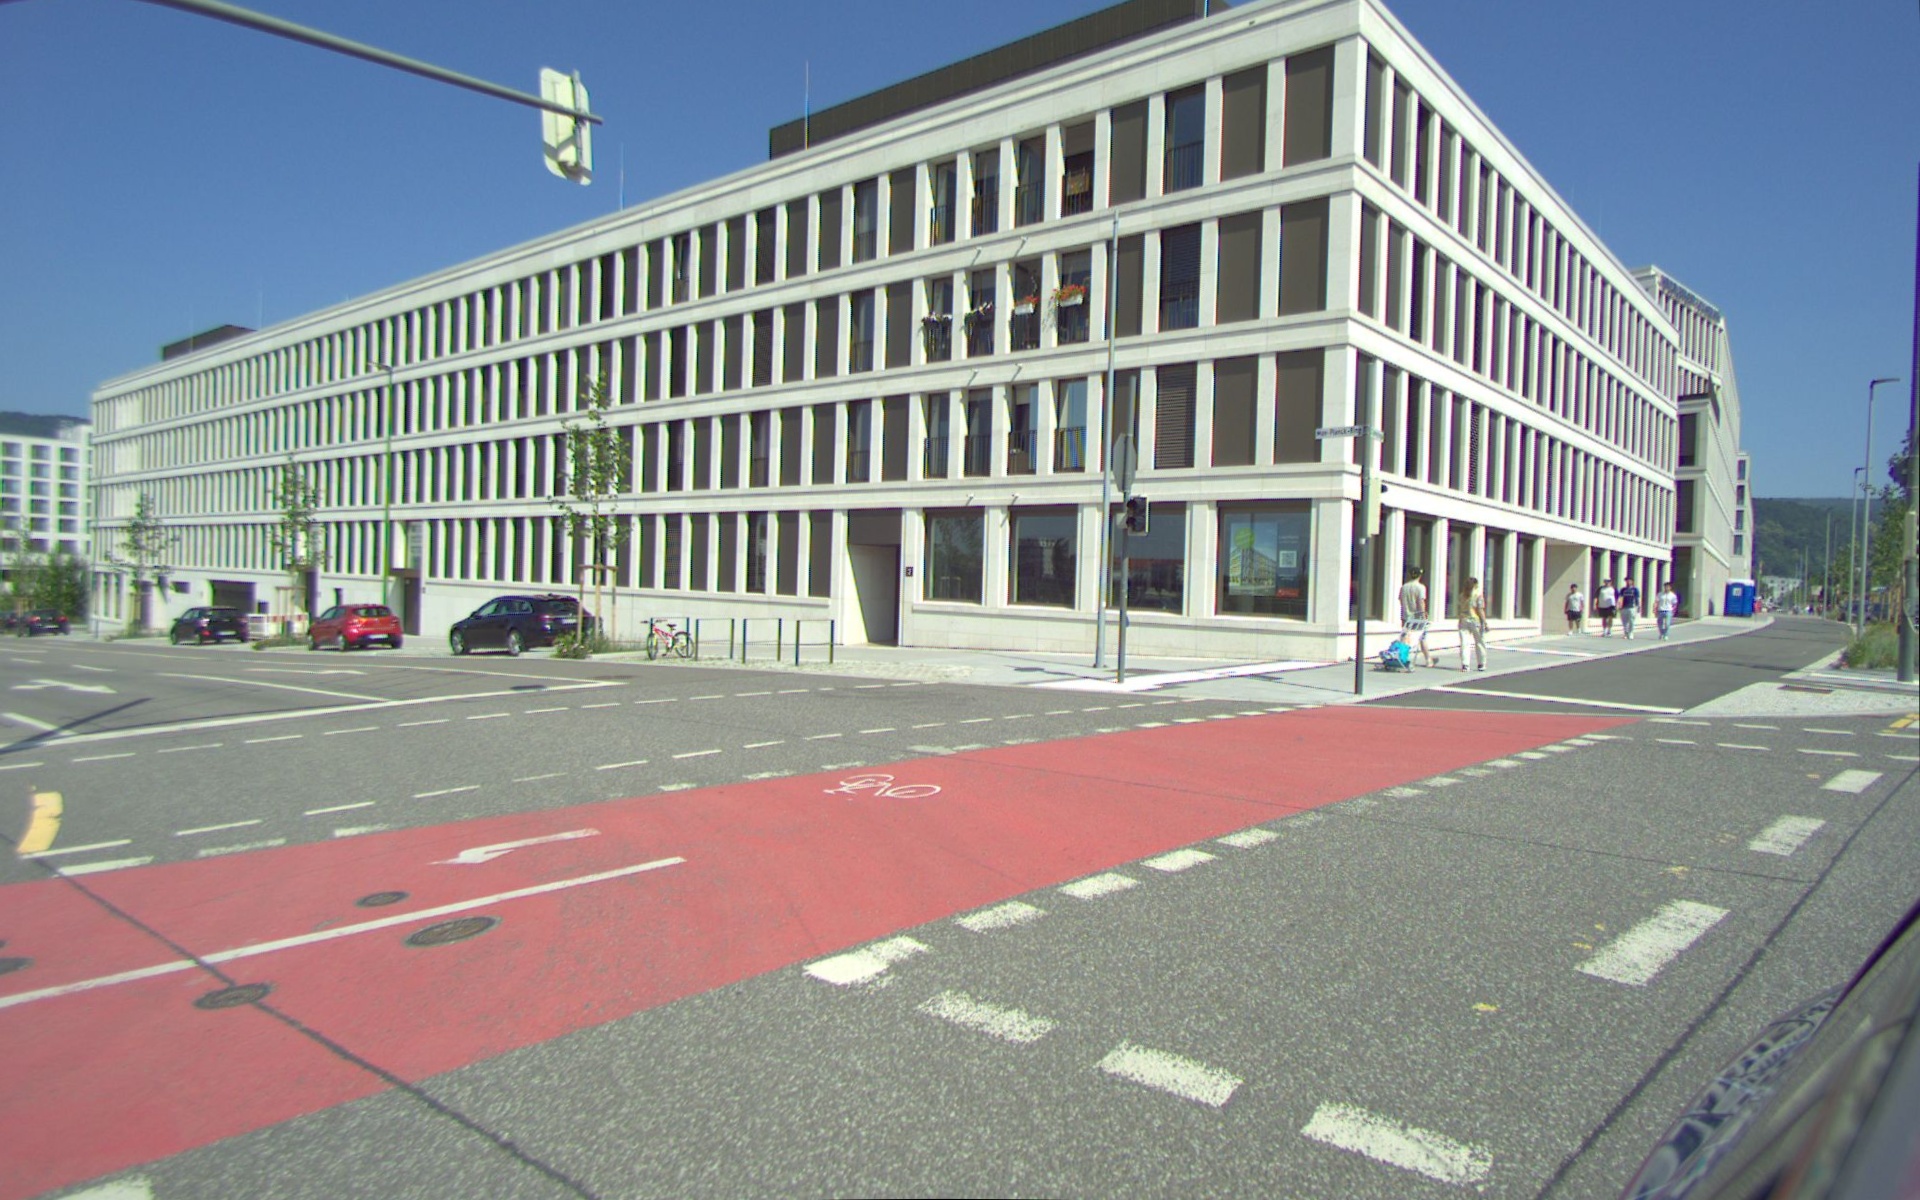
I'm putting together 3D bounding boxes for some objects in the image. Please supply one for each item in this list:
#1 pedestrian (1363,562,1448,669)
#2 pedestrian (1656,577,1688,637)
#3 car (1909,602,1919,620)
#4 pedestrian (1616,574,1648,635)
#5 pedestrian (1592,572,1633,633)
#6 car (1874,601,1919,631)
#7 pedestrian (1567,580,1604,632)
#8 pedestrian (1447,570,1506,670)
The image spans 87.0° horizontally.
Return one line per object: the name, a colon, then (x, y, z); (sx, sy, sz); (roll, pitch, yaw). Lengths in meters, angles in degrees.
pedestrian: (8.150, 0.266, 18.494); (1.637, 1.849, 0.878); (0, 0, -44)
pedestrian: (21.497, 0.203, 30.541); (0.577, 1.740, 0.981); (4, 3, 44)
car: (88.116, 1.006, 92.575); (1.777, 1.581, 3.773); (0, -1, 42)
pedestrian: (19.921, 0.124, 29.991); (0.577, 1.762, 0.981); (3, 2, 44)
pedestrian: (19.953, 0.069, 30.949); (0.825, 1.805, 0.912); (3, 2, 45)
car: (50.271, 0.817, 54.185); (1.806, 1.527, 3.936); (1, 0, 44)
pedestrian: (19.432, 0.171, 31.424); (0.768, 1.585, 0.829); (3, 2, 45)
pedestrian: (9.384, 0.343, 18.386); (0.783, 1.745, 0.700); (0, 2, -44)
